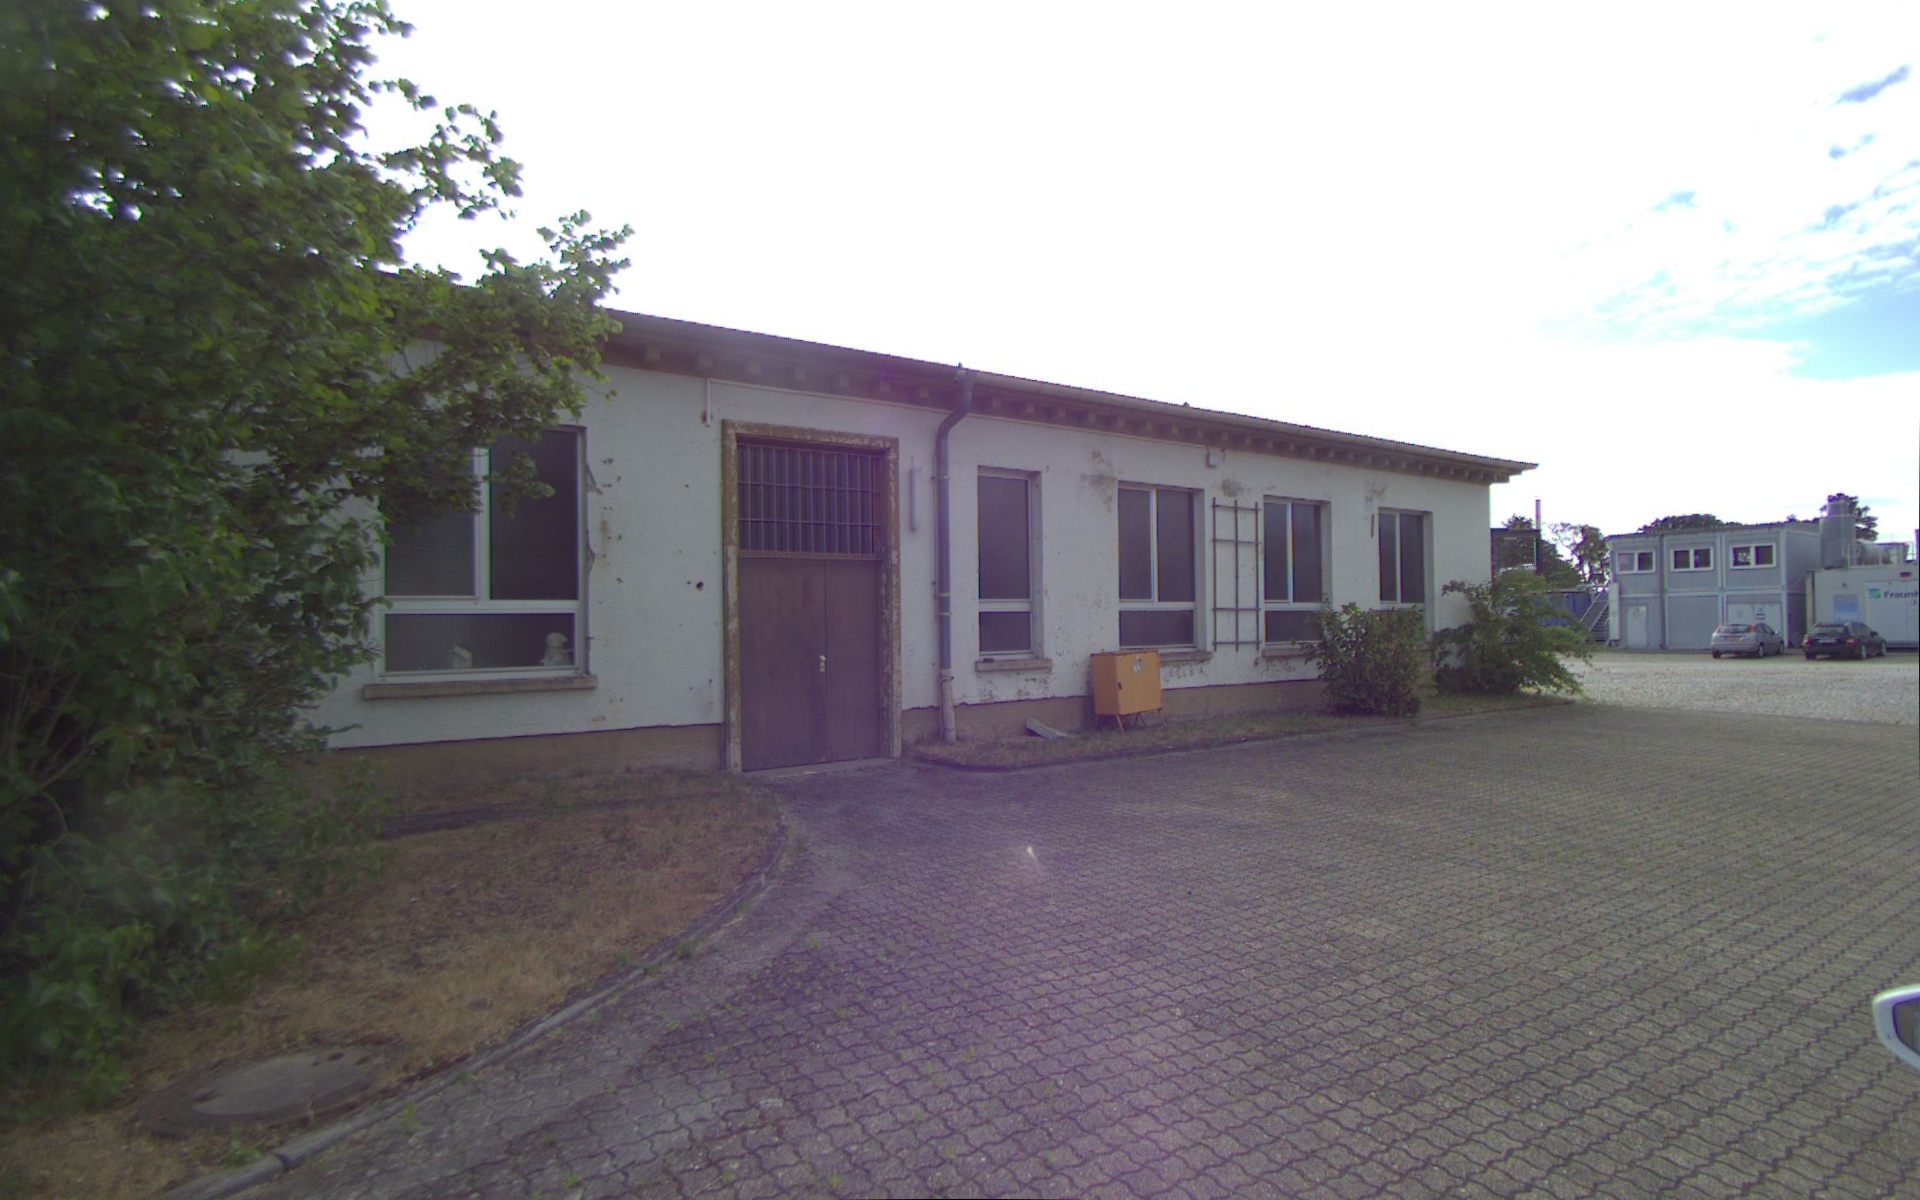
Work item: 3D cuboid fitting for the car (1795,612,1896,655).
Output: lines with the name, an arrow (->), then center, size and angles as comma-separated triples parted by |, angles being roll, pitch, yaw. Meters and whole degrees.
car -> 35.316, 1.297, 40.020 | 4.484, 1.472, 2.023 | -2, -1, -35

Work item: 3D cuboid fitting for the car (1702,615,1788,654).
car -> 33.461, 1.456, 42.798 | 4.009, 1.495, 1.893 | -1, -1, -37
